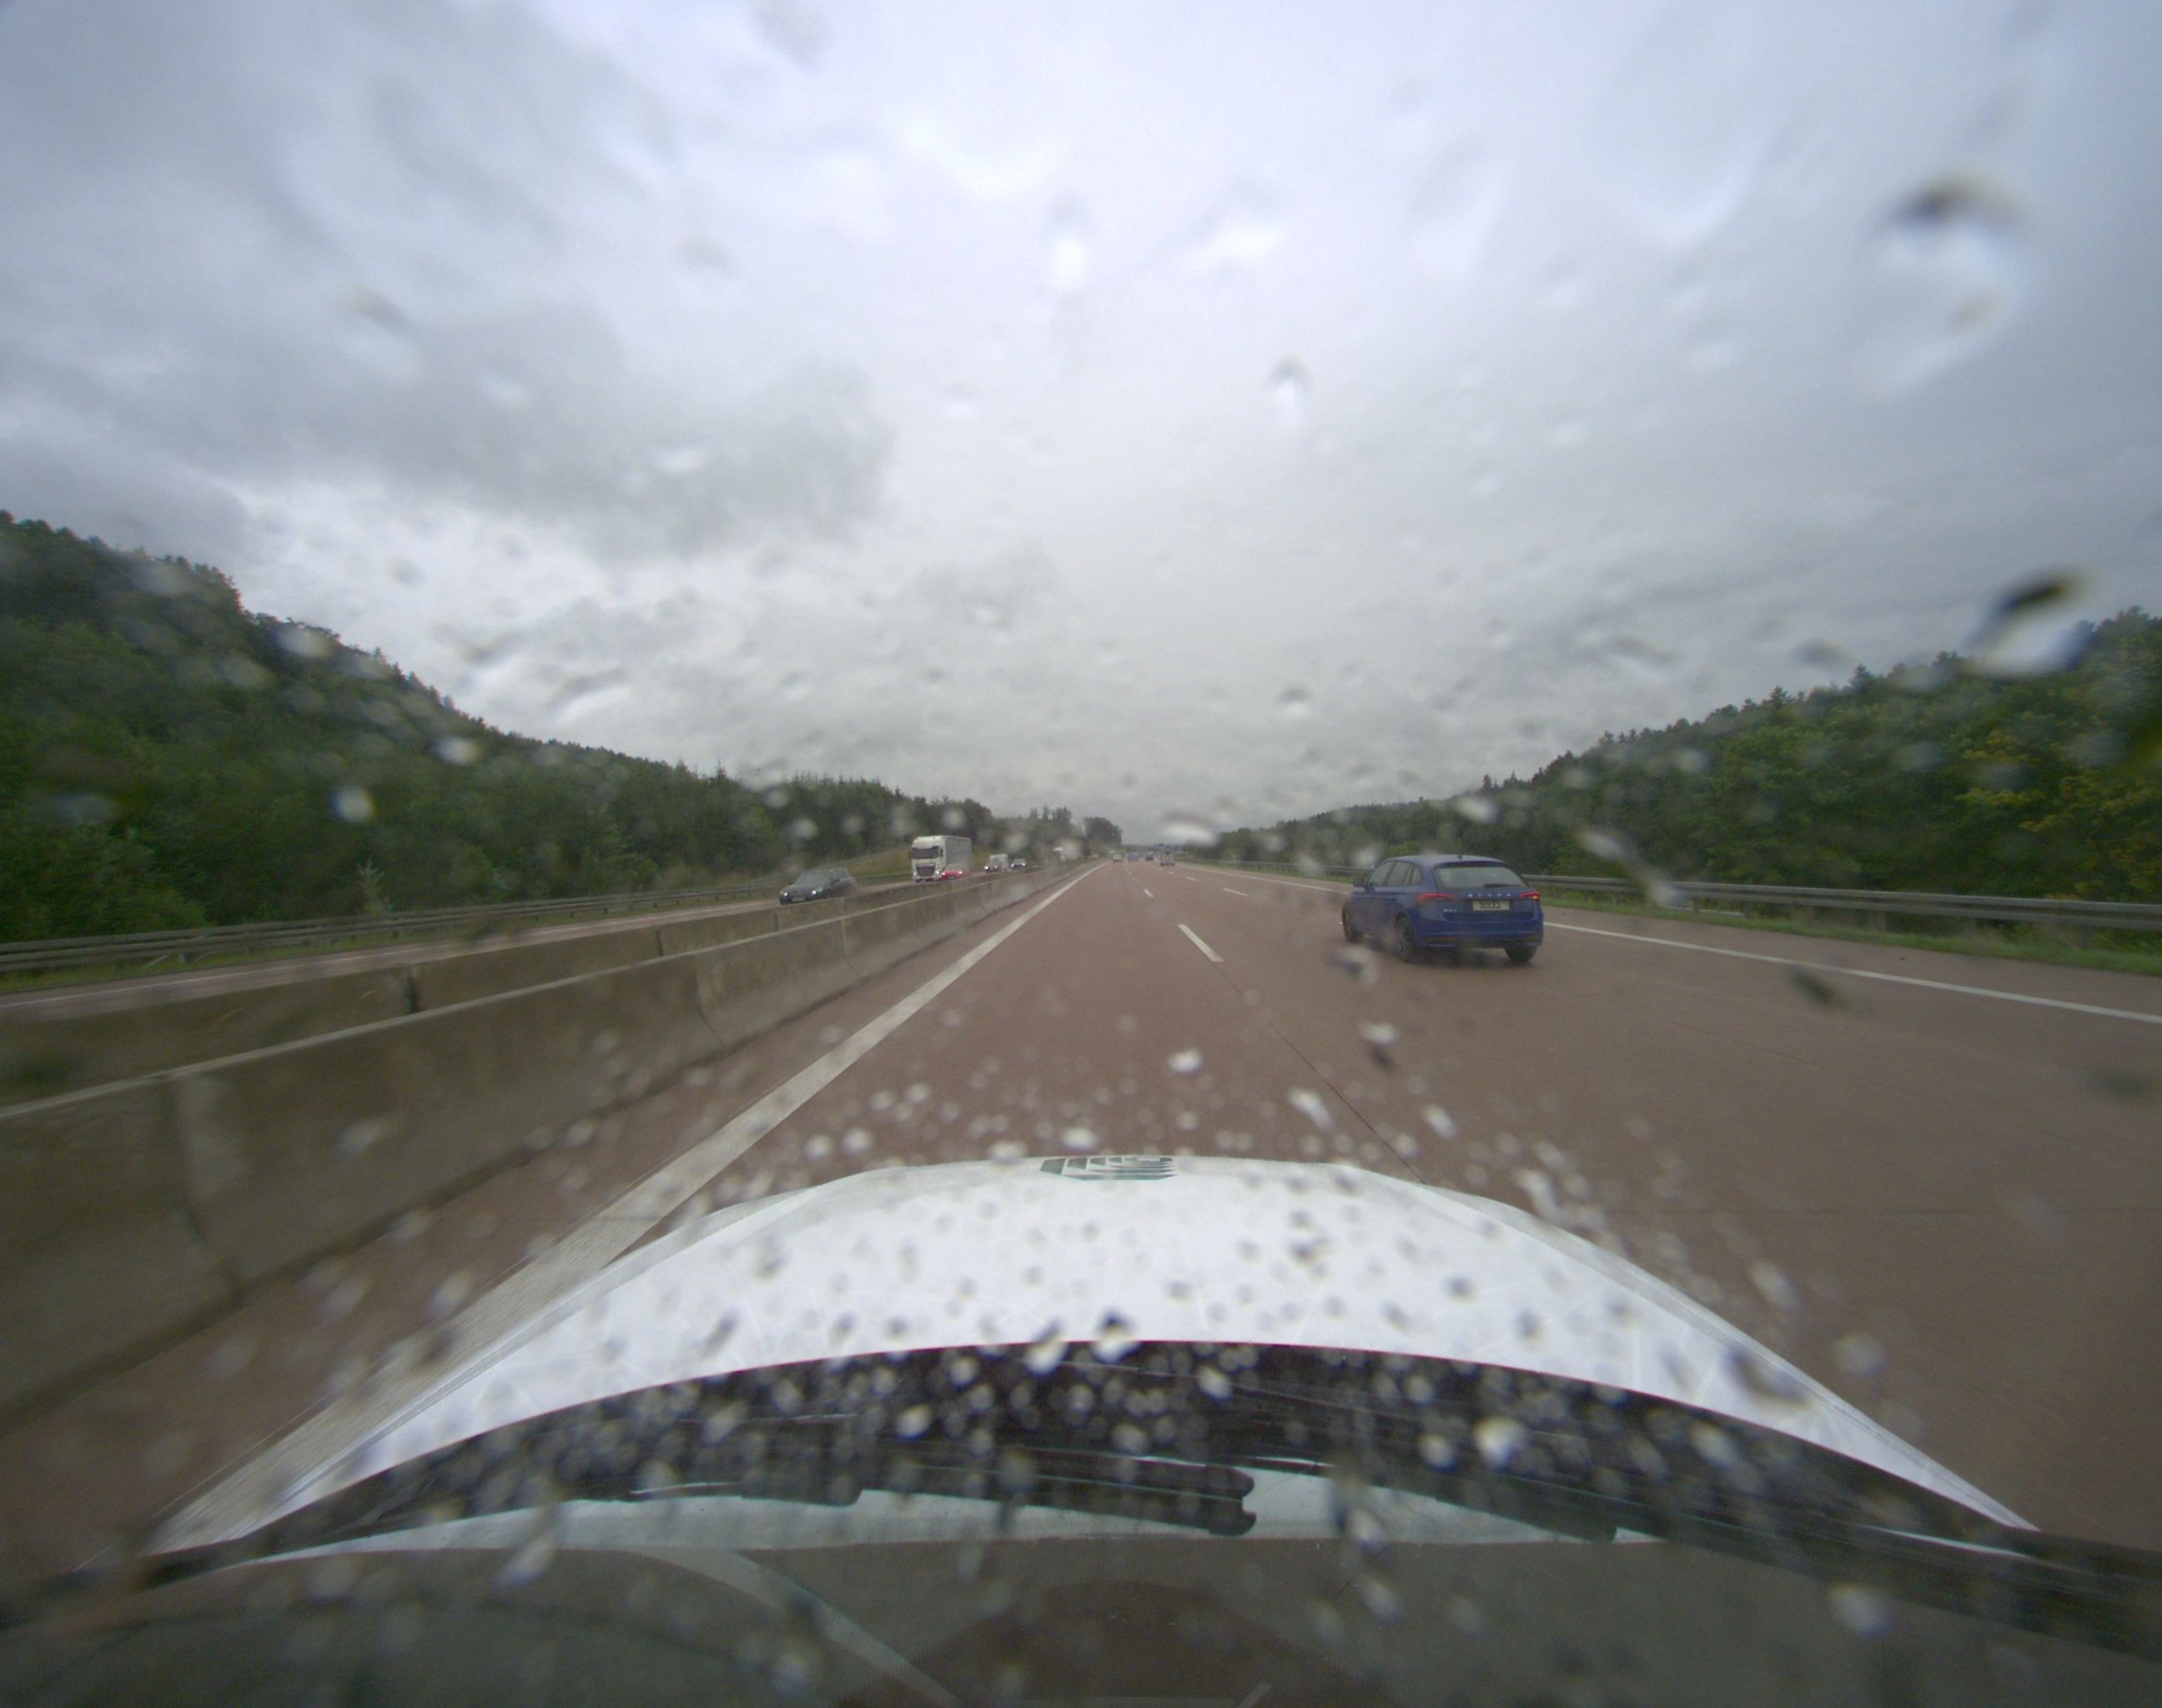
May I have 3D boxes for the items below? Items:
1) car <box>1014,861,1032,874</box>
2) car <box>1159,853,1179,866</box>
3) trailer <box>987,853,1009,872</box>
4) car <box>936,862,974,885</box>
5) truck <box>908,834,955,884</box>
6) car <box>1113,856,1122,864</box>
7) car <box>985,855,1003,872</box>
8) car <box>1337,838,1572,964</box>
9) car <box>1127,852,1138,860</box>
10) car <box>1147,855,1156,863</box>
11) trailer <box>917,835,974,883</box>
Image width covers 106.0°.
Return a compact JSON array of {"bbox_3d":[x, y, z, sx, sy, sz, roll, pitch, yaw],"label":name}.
[{"bbox_3d":[-7.640,1.796,107.277,1.685,1.557,5.680,-3,0,2],"label":"car"},{"bbox_3d":[12.082,0.819,111.998,2.315,1.750,4.876,0,-1,0],"label":"car"},{"bbox_3d":[-11.576,1.131,113.962,2.268,2.411,5.440,-4,0,2],"label":"trailer"},{"bbox_3d":[-9.455,1.444,61.313,1.986,1.545,4.281,-3,-1,2],"label":"car"},{"bbox_3d":[-13.314,0.461,73.115,2.758,4.176,6.003,-3,-1,2],"label":"truck"},{"bbox_3d":[7.670,1.264,172.551,1.867,1.444,4.877,0,-1,1],"label":"car"},{"bbox_3d":[-11.579,1.226,108.990,1.752,2.153,4.429,-3,0,1],"label":"car"},{"bbox_3d":[5.317,0.630,12.254,1.764,1.564,4.148,0,-1,2],"label":"car"},{"bbox_3d":[11.793,0.516,185.959,2.315,1.750,4.876,0,-1,0],"label":"car"},{"bbox_3d":[17.132,1.237,198.106,1.987,2.014,3.999,0,-1,0],"label":"car"},{"bbox_3d":[-13.058,0.592,79.846,2.729,4.140,12.760,-3,-1,2],"label":"trailer"}]
